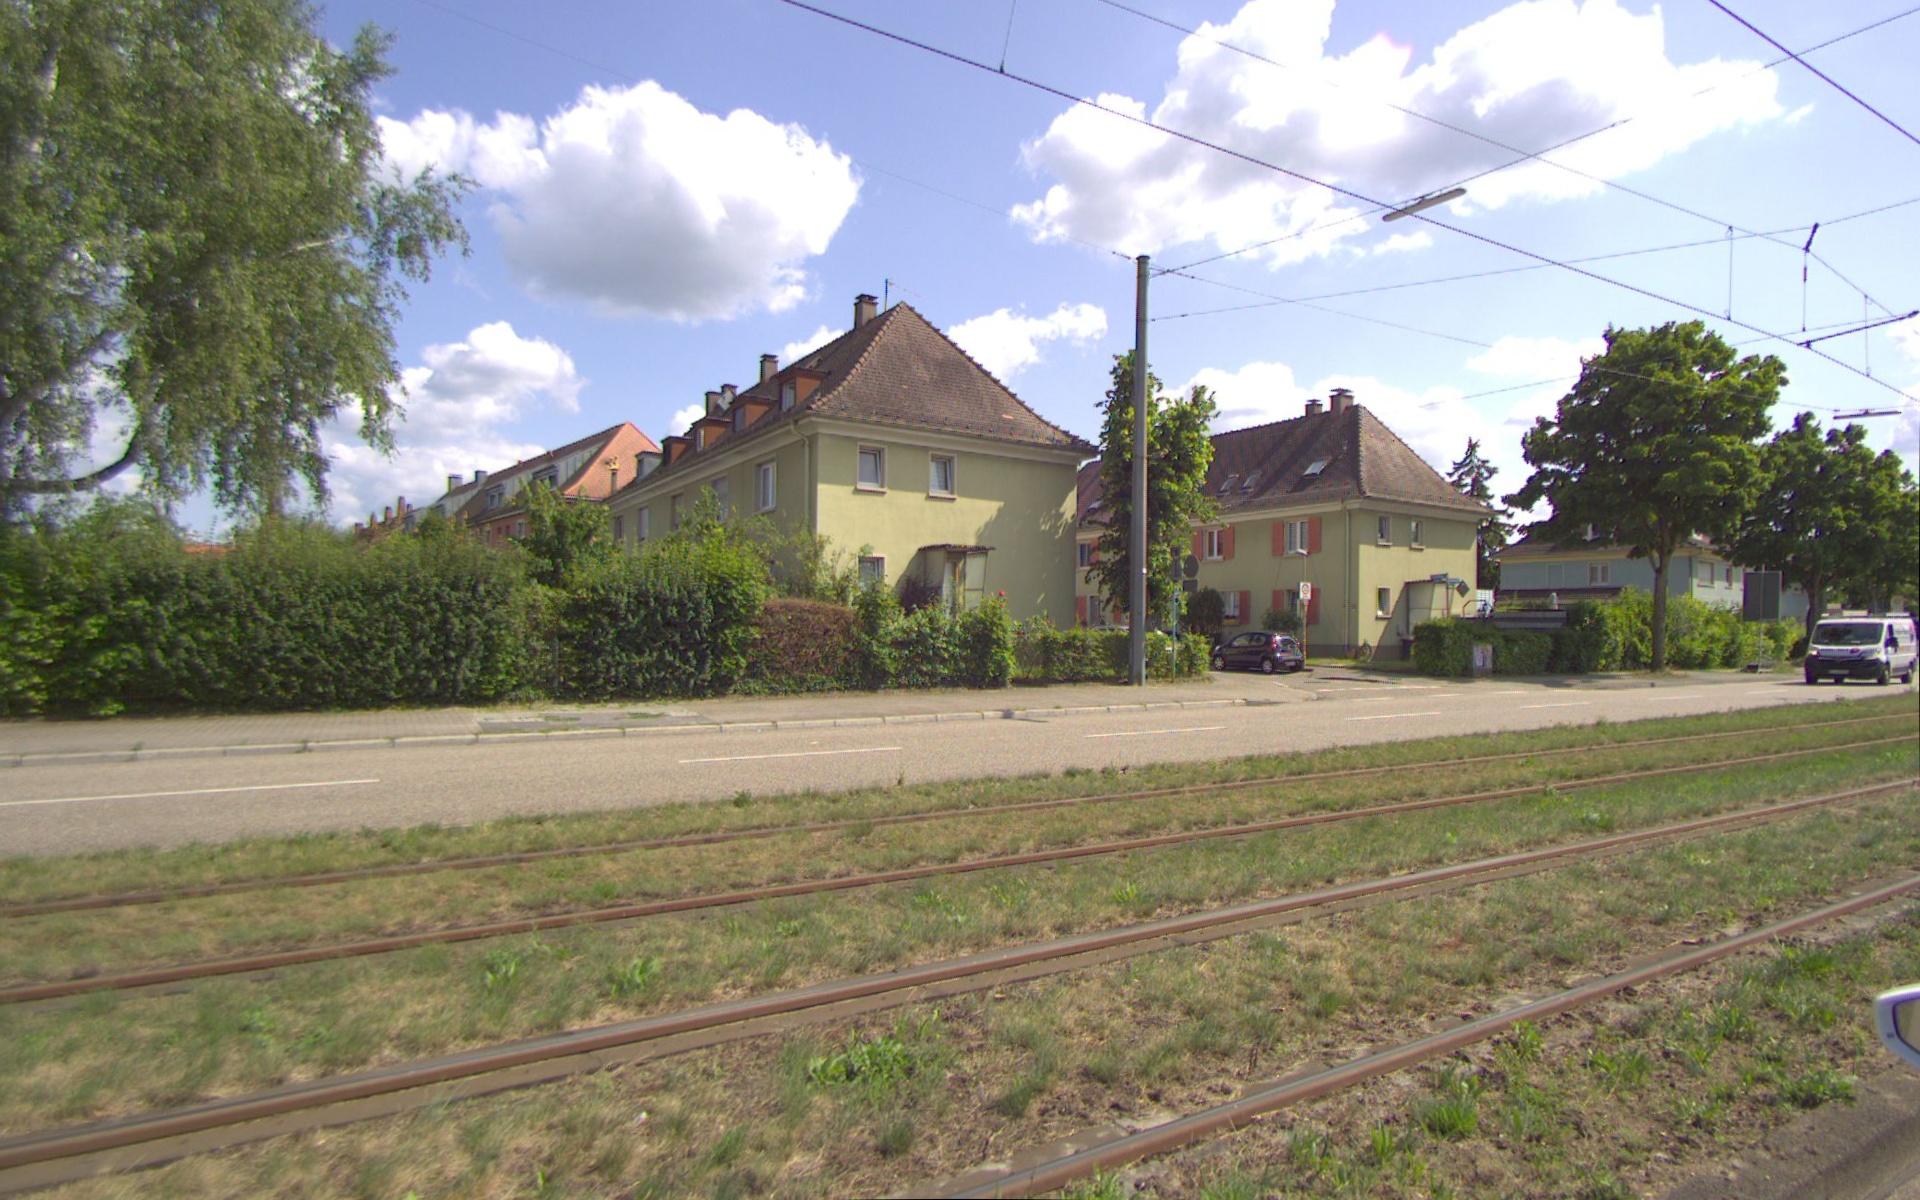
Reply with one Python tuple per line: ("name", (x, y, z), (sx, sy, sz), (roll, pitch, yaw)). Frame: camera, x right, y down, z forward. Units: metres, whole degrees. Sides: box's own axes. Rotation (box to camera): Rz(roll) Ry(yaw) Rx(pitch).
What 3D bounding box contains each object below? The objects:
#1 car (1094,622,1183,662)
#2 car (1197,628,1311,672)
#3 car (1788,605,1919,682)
("car", (7.503, 1.750, 42.536), (1.707, 1.595, 3.723), (1, -2, -31))
("car", (10.710, 1.784, 36.760), (1.874, 1.487, 3.720), (1, -2, -33))
("car", (30.163, 1.467, 33.772), (5.278, 2.403, 2.183), (2, -3, -34))
